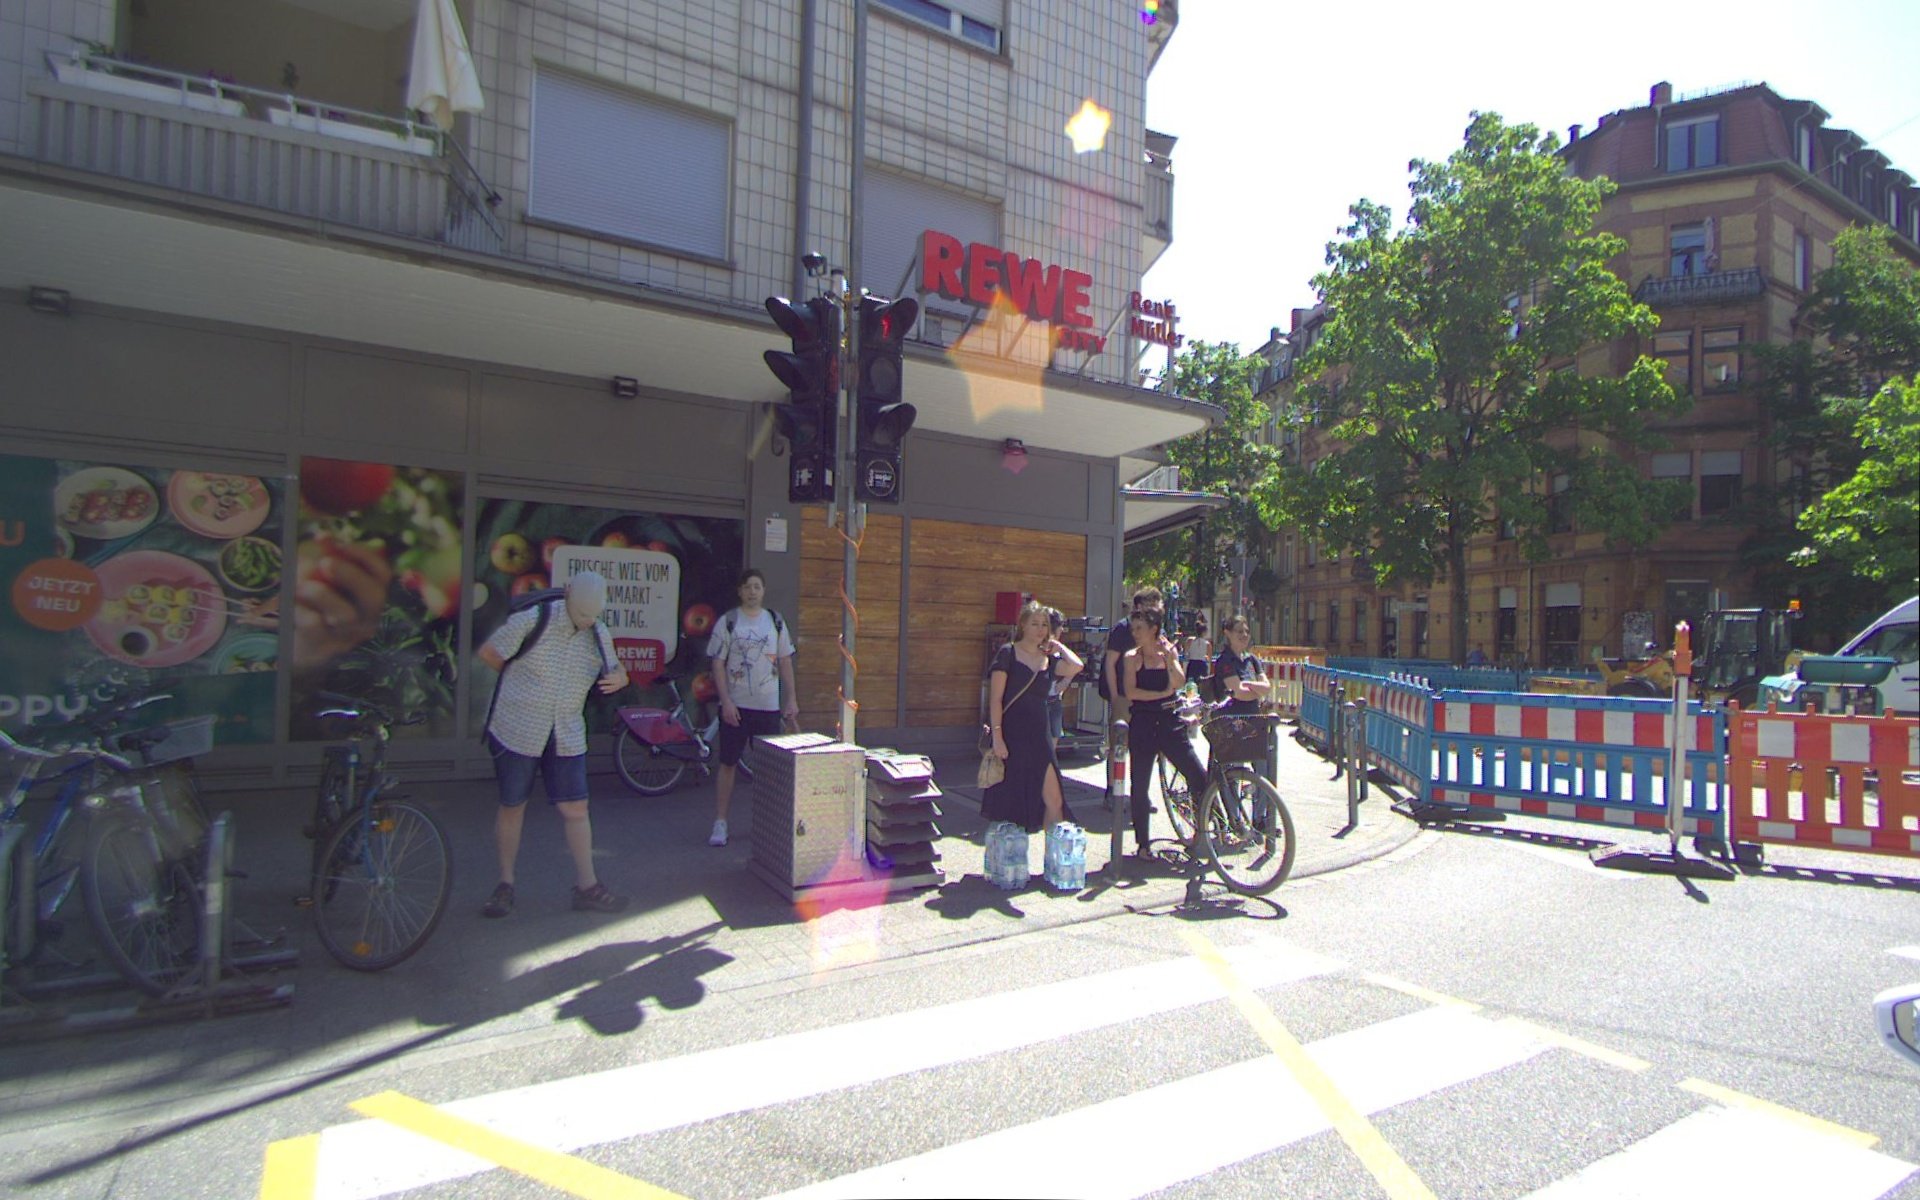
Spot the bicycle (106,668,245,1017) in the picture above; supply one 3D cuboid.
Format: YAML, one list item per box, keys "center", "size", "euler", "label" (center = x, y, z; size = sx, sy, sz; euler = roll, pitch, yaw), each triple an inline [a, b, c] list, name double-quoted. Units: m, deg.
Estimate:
- center: [-3.326, 0.919, 4.321]
  size: [0.332, 1.132, 1.509]
  euler: [3, 0, -34]
  label: "bicycle"

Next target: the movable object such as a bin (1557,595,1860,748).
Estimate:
- center: [15.037, 1.319, 20.458]
  size: [1.935, 2.694, 4.515]
  euler: [3, -1, -33]
  label: "movable object such as a bin"

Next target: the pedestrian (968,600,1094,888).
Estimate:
- center: [0.430, 0.842, 6.146]
  size: [0.506, 1.654, 0.538]
  euler: [3, -2, -33]
  label: "pedestrian"

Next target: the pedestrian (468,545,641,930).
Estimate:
- center: [-2.035, 0.641, 5.021]
  size: [0.626, 1.749, 0.652]
  euler: [3, -2, -33]
  label: "pedestrian"

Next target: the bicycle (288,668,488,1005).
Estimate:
- center: [-2.731, 0.957, 4.697]
  size: [0.572, 1.137, 1.785]
  euler: [3, 0, -36]
  label: "bicycle"

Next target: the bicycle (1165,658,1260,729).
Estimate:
- center: [4.176, 1.535, 16.682]
  size: [1.552, 1.086, 0.341]
  euler: [0, -3, 43]
  label: "bicycle"

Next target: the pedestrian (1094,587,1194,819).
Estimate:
- center: [1.529, 0.832, 8.357]
  size: [0.593, 1.843, 0.506]
  euler: [3, -2, -33]
  label: "pedestrian"

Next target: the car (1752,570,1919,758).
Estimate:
- center: [15.813, 1.013, 14.391]
  size: [2.351, 2.788, 6.591]
  euler: [3, -1, -29]
  label: "car"

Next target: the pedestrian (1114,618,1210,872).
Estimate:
- center: [1.316, 0.922, 6.596]
  size: [0.450, 1.586, 0.497]
  euler: [2, 0, -5]
  label: "pedestrian"

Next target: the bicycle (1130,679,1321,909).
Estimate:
- center: [1.625, 1.145, 6.460]
  size: [0.459, 1.134, 1.807]
  euler: [2, -1, -9]
  label: "bicycle"

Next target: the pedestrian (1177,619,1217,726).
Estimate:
- center: [3.914, 1.191, 16.631]
  size: [0.578, 1.737, 0.391]
  euler: [1, -2, 8]
  label: "pedestrian"

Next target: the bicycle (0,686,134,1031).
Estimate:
- center: [-3.666, 0.941, 4.065]
  size: [0.332, 1.049, 1.438]
  euler: [3, 0, -34]
  label: "bicycle"

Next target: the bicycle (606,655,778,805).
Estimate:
- center: [-2.165, 1.022, 8.255]
  size: [0.317, 1.100, 1.426]
  euler: [1, -1, 40]
  label: "bicycle"

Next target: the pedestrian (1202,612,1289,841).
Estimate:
- center: [2.130, 0.917, 7.500]
  size: [0.470, 1.639, 0.387]
  euler: [3, -2, -33]
  label: "pedestrian"

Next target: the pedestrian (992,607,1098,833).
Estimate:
- center: [0.652, 0.894, 7.733]
  size: [0.593, 1.654, 0.506]
  euler: [3, -2, -33]
  label: "pedestrian"

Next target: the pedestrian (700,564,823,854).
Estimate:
- center: [-1.310, 0.691, 6.612]
  size: [0.593, 1.793, 0.506]
  euler: [3, -2, -33]
  label: "pedestrian"
